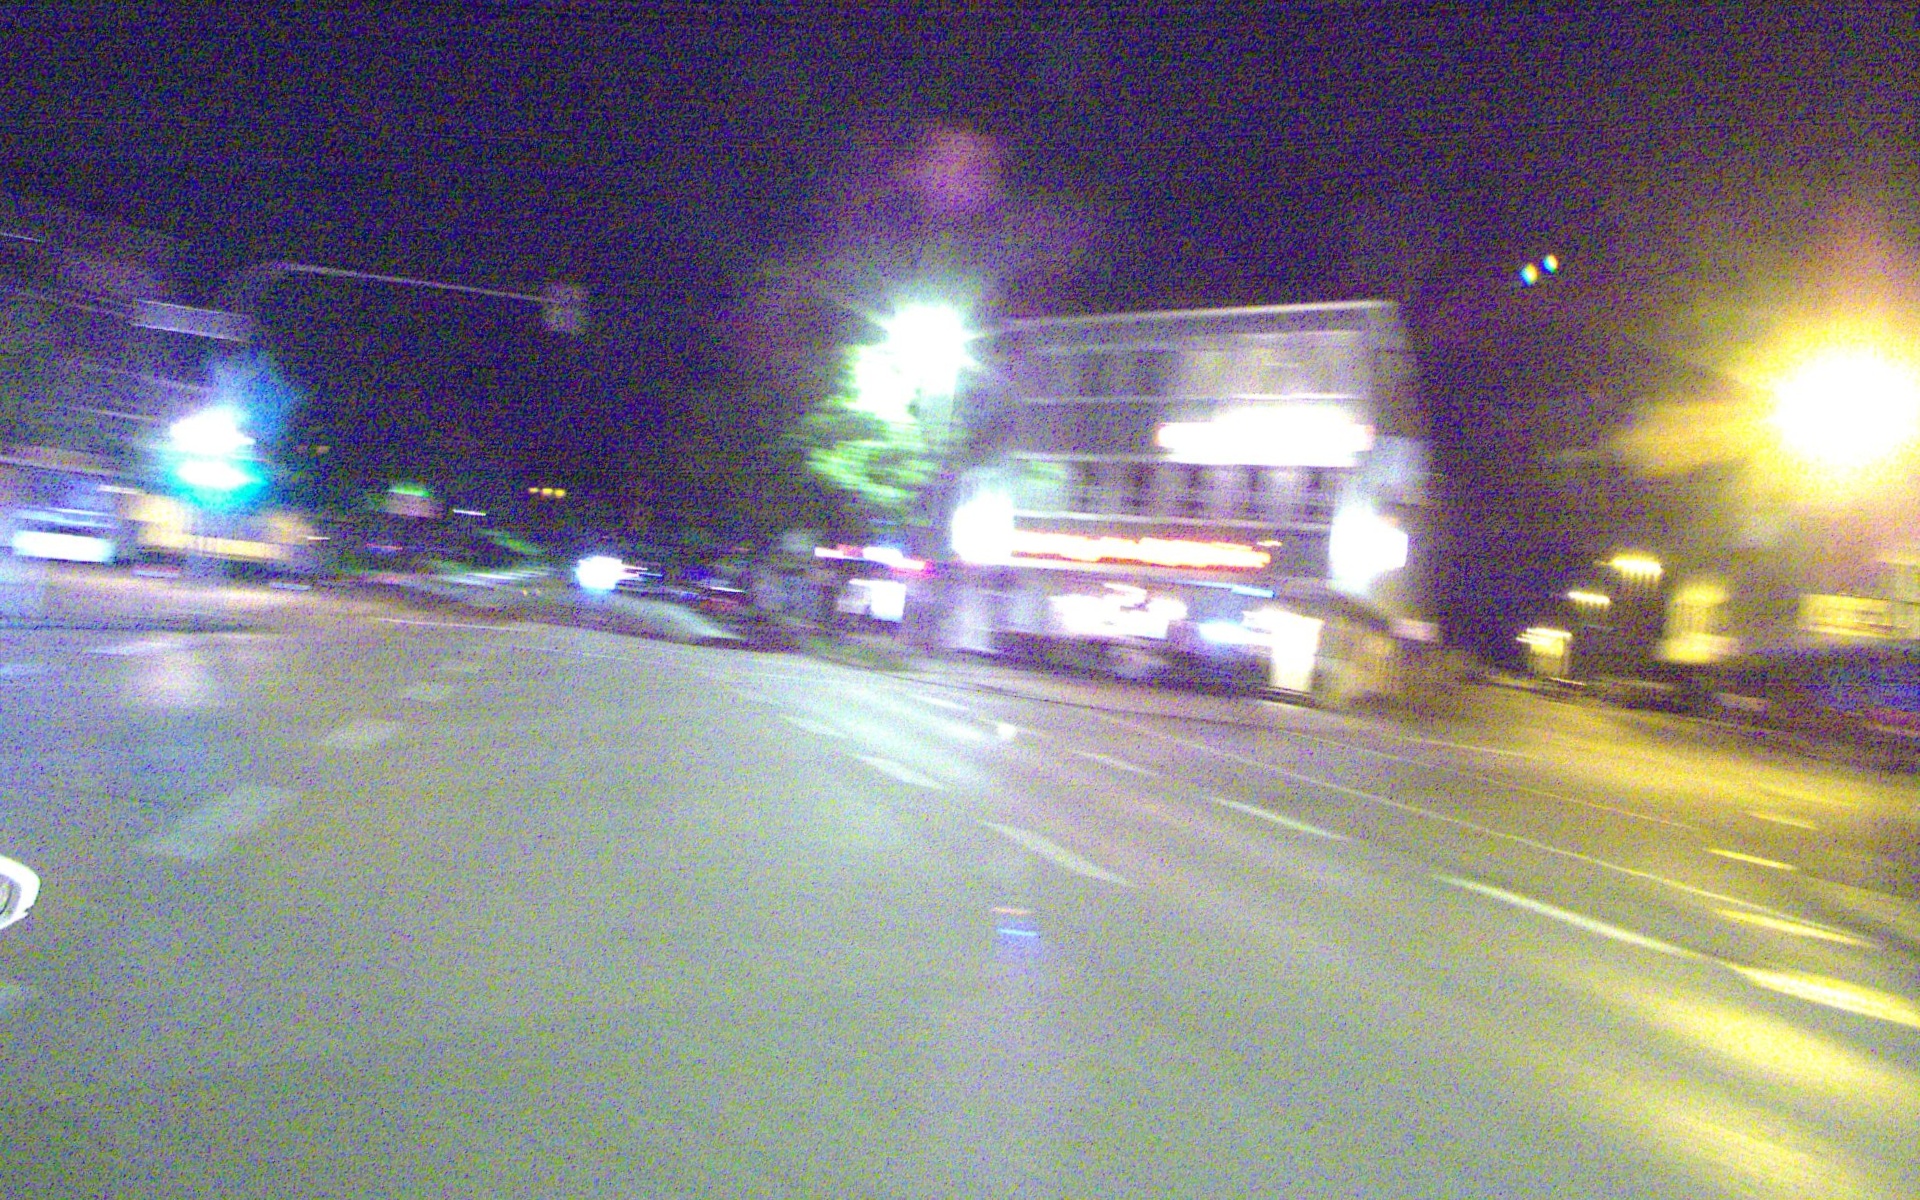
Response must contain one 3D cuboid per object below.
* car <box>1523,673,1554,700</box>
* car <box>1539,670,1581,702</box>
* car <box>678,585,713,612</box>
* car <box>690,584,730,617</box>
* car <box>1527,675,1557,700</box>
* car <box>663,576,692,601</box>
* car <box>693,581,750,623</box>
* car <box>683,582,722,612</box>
[{"bbox_3d":[47.887,7.146,83.219,1.967,1.859,3.994,8,-1,31],"label":"car"},{"bbox_3d":[39.975,5.740,67.098,1.965,1.770,3.998,8,-1,27],"label":"car"},{"bbox_3d":[-17.336,-0.107,65.812,1.868,1.470,3.880,8,-1,-18],"label":"car"},{"bbox_3d":[-13.513,0.003,54.240,1.866,1.470,3.883,8,-1,-15],"label":"car"},{"bbox_3d":[50.890,7.672,87.910,1.967,1.804,3.994,8,-1,32],"label":"car"},{"bbox_3d":[-21.971,-0.888,78.359,1.983,1.645,3.883,8,-1,-15],"label":"car"},{"bbox_3d":[-11.774,0.050,49.518,1.852,1.673,3.840,8,-1,-25],"label":"car"},{"bbox_3d":[-15.695,-0.207,61.197,1.868,1.470,3.880,8,-1,-18],"label":"car"}]
